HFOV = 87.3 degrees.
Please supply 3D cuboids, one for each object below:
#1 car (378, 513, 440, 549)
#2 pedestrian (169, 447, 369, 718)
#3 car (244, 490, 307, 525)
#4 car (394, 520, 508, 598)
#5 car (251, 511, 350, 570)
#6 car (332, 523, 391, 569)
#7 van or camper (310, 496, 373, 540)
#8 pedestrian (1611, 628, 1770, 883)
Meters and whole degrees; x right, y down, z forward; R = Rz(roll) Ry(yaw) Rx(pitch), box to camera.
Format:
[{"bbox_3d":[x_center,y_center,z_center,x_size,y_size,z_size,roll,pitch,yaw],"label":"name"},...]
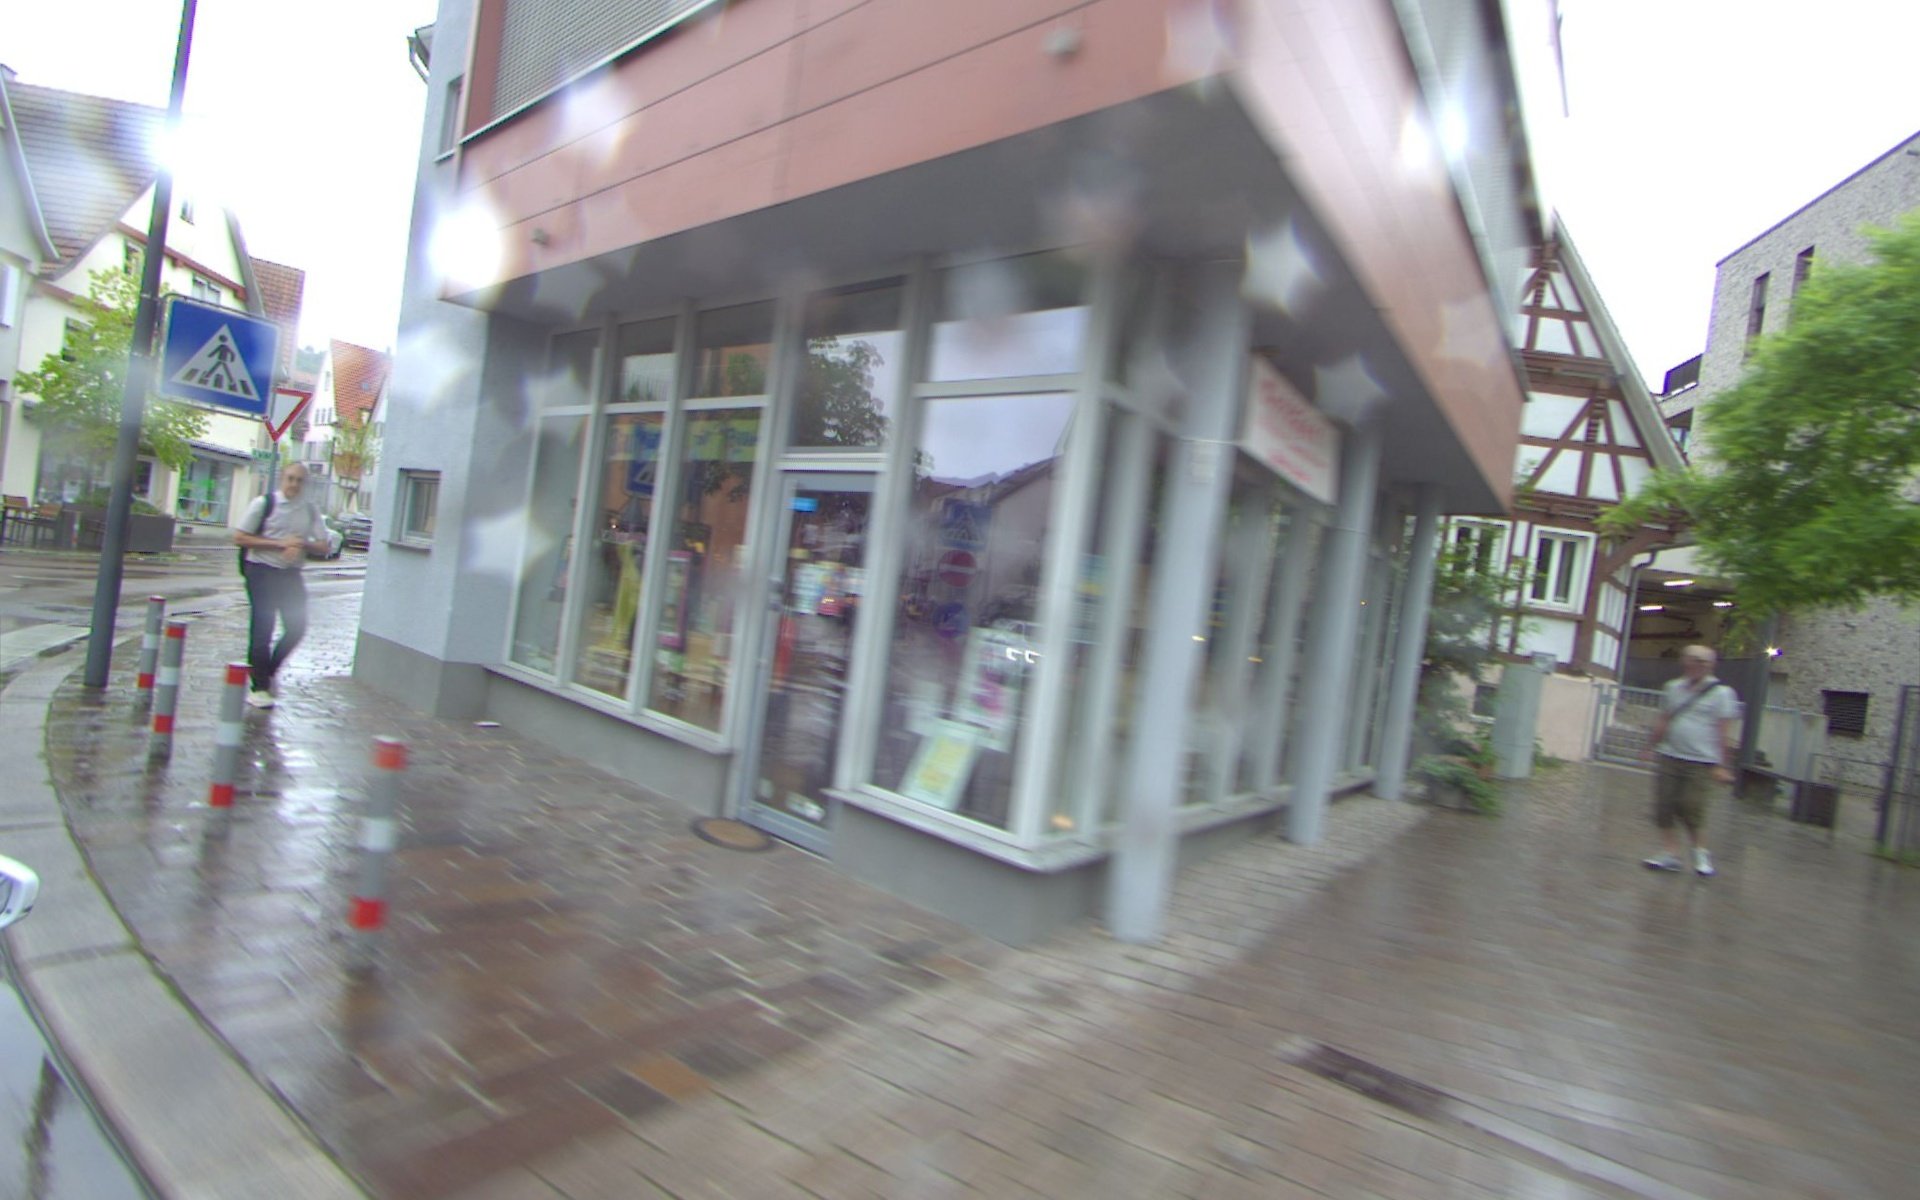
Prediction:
[{"bbox_3d":[-31.608,-3.962,57.707,3.947,1.613,1.988,8,2,45],"label":"car"},{"bbox_3d":[-5.390,-0.125,7.879,0.847,1.938,0.758,7,1,17],"label":"pedestrian"},{"bbox_3d":[-40.427,-5.478,59.424,3.941,1.613,1.990,8,2,40],"label":"car"},{"bbox_3d":[-13.253,-1.096,26.429,1.971,1.680,3.981,6,2,-19],"label":"car"},{"bbox_3d":[-21.804,-1.983,33.411,1.974,1.613,3.975,6,2,-24],"label":"car"},{"bbox_3d":[-25.899,-2.368,43.501,1.979,1.613,3.964,6,2,-32],"label":"car"},{"bbox_3d":[-33.306,-4.413,54.151,3.945,1.944,1.822,8,2,43],"label":"van or camper"},{"bbox_3d":[5.731,1.175,7.890,0.698,1.808,0.842,9,3,44],"label":"pedestrian"}]
